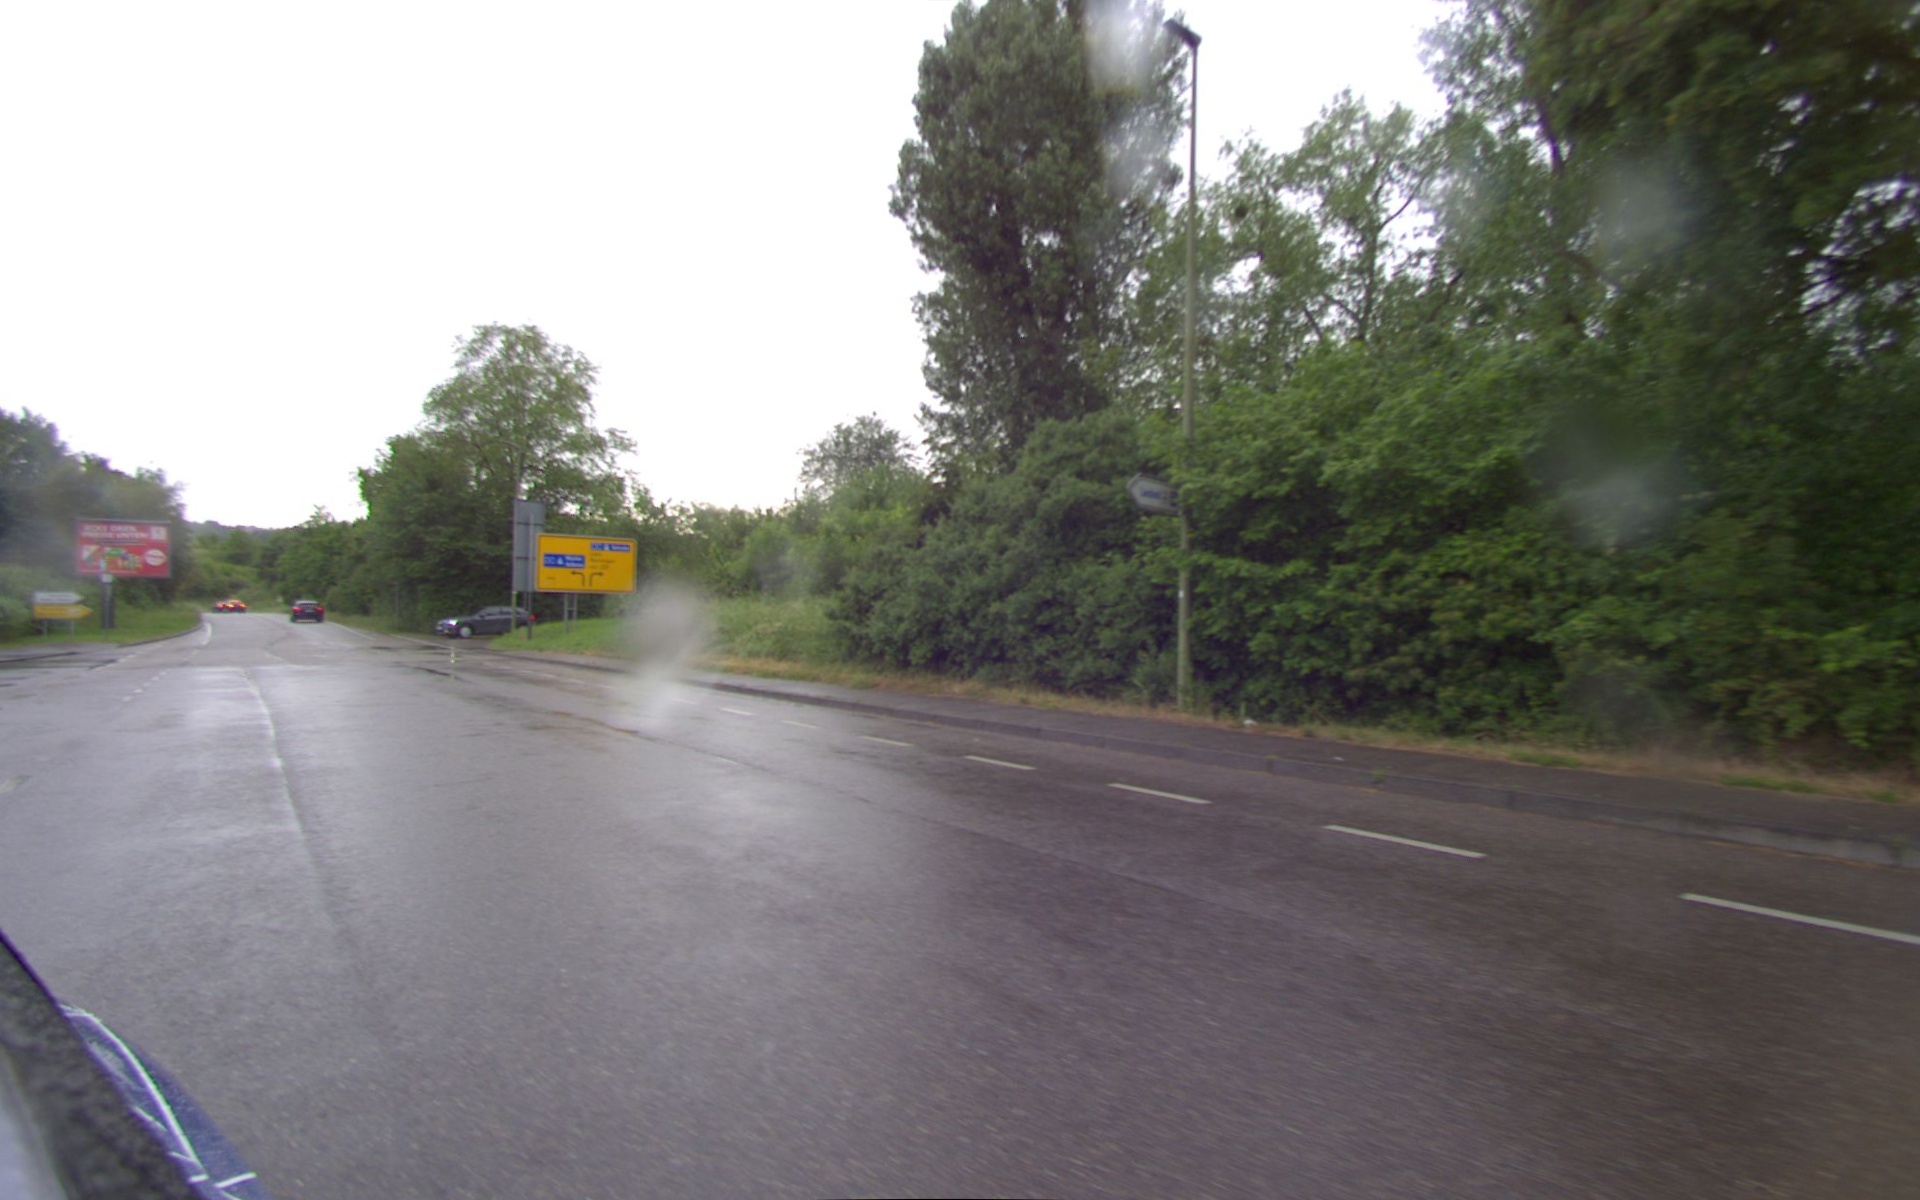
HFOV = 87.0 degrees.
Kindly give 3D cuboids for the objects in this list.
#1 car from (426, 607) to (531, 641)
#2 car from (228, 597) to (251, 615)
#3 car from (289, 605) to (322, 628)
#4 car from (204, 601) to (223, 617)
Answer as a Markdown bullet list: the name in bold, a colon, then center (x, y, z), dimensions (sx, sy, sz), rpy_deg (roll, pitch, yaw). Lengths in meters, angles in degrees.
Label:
- **car**: center (-22.100, 1.085, 46.524), dimensions (4.055, 1.501, 1.860), rpy_deg (0, -2, -40)
- **car**: center (-86.835, 0.690, 122.002), dimensions (1.968, 2.029, 4.007), rpy_deg (1, 0, -39)
- **car**: center (-44.794, 1.094, 69.271), dimensions (1.805, 1.535, 4.010), rpy_deg (0, -1, -34)
- **car**: center (-98.922, 1.161, 134.133), dimensions (1.781, 2.029, 4.007), rpy_deg (1, 0, -39)
